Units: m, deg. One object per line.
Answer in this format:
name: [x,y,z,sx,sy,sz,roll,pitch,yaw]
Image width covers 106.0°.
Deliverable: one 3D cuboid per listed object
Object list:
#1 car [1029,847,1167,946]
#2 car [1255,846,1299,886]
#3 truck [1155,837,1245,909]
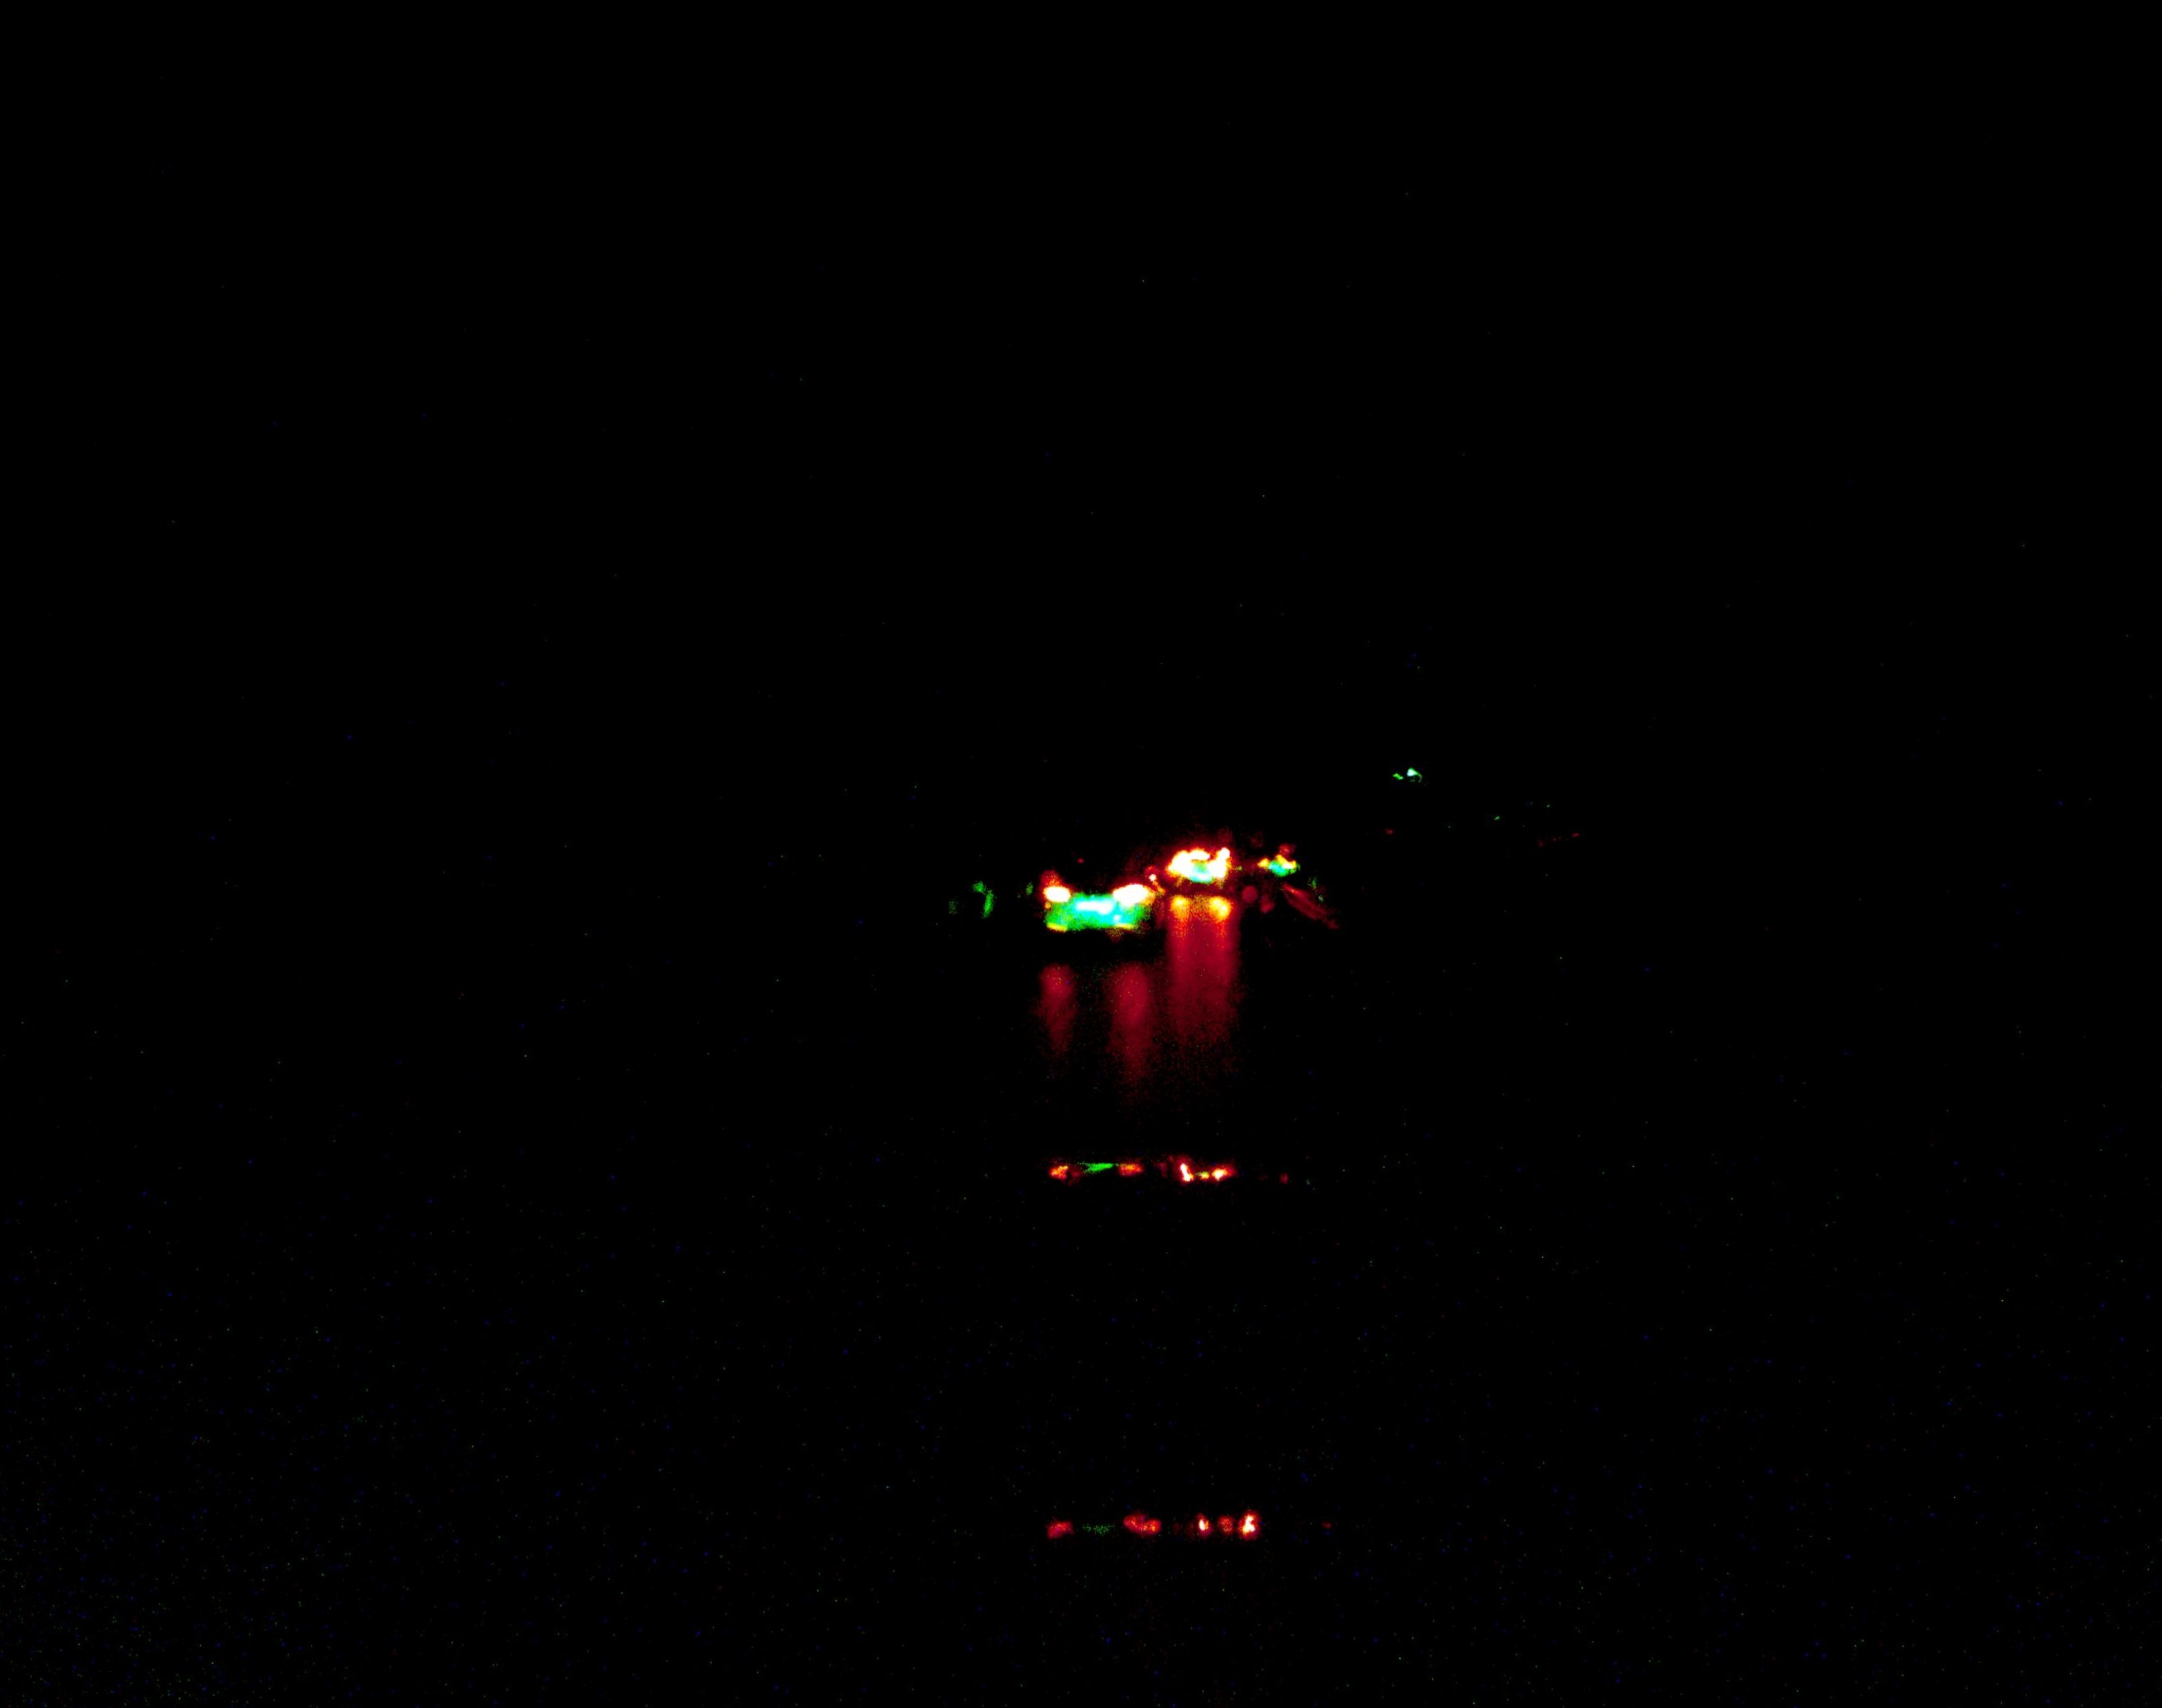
car: [0.446,0.675,14.666,1.933,1.491,3.725,-2,0,9]
car: [10.328,0.609,42.724,1.821,1.948,4.019,-1,0,19]
truck: [4.590,0.696,32.875,3.056,2.528,7.174,-1,0,4]
